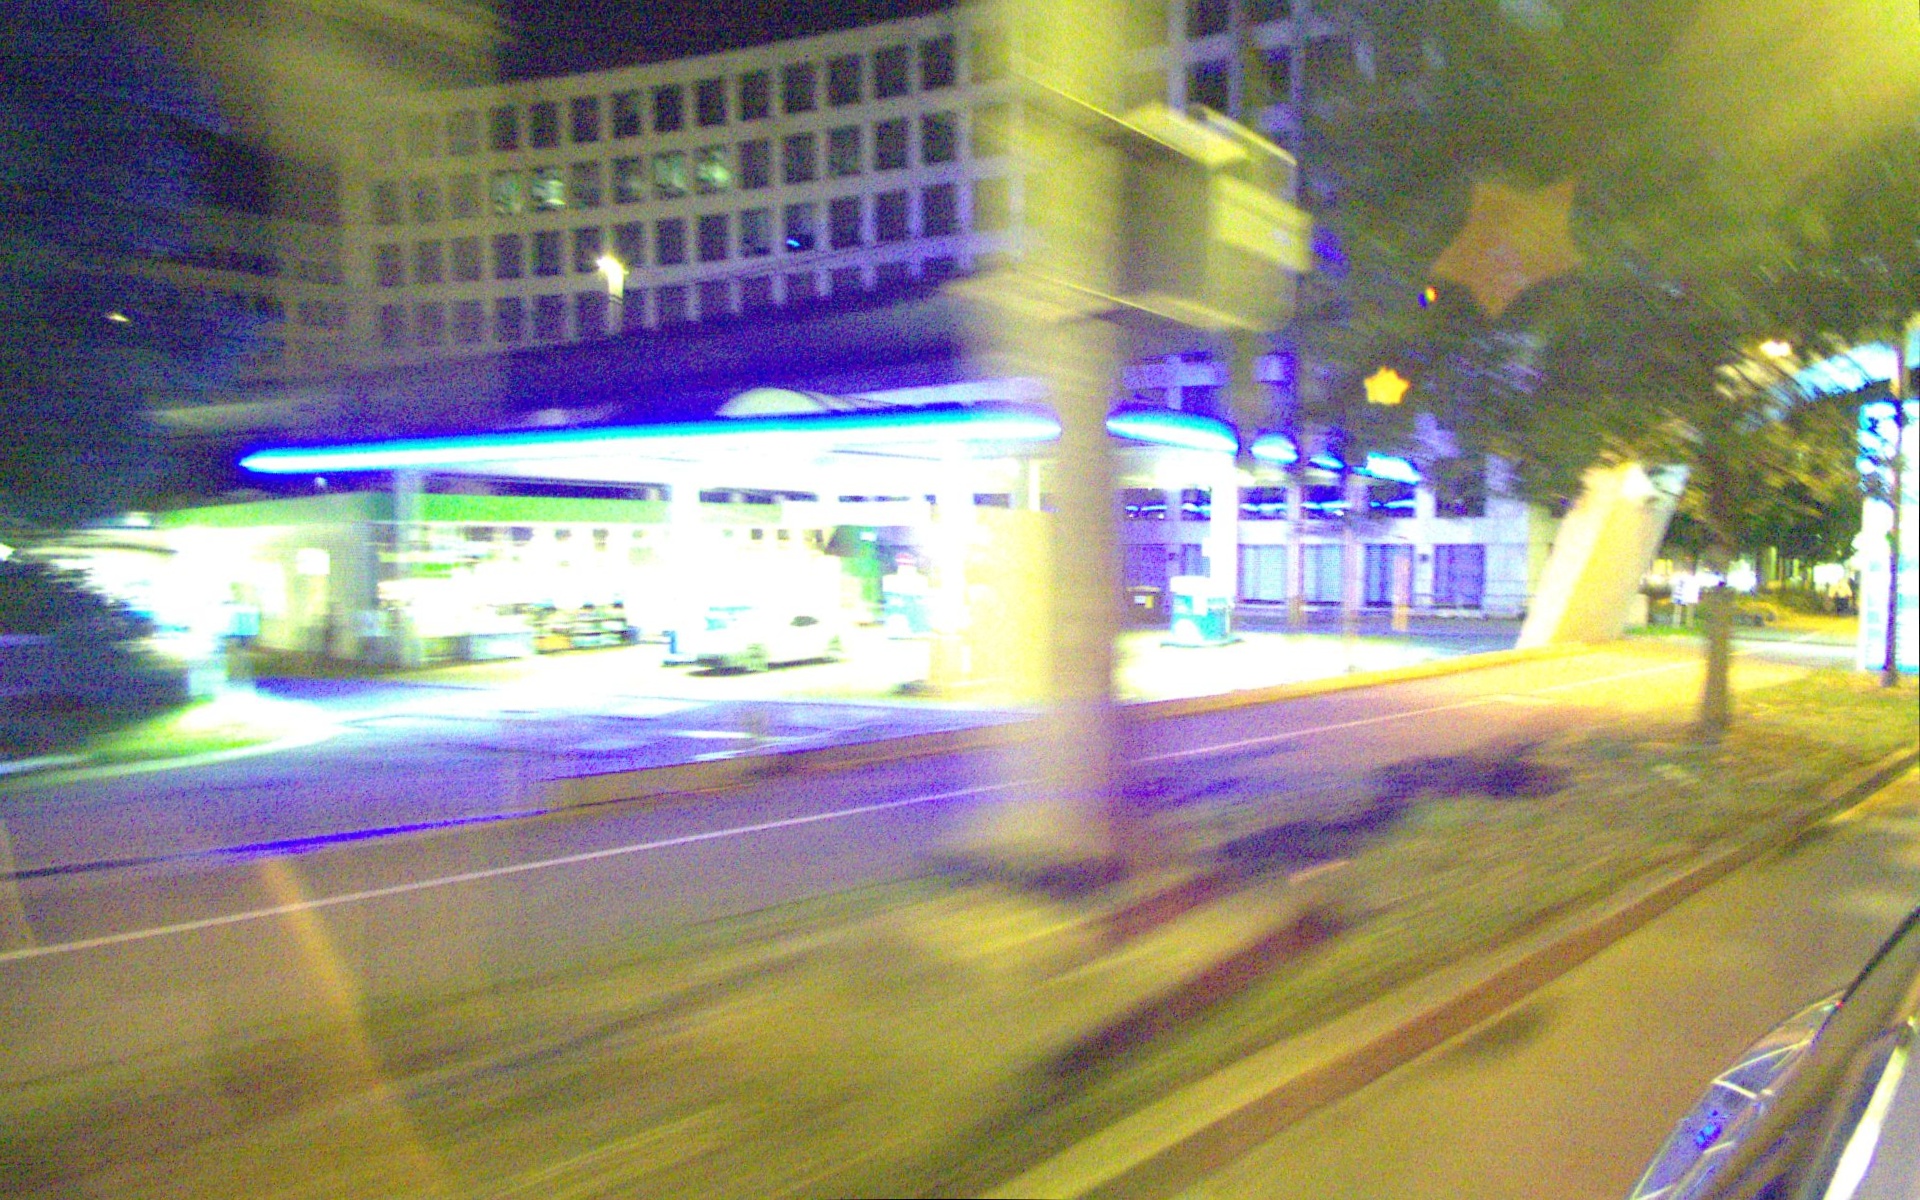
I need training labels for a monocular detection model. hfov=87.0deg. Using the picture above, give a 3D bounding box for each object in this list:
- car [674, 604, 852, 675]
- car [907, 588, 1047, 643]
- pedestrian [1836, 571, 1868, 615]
[{"bbox_3d":[-4.586,0.853,24.017,1.650,1.375,4.012,0,2,40],"label":"car"},{"bbox_3d":[0.574,0.401,30.352,1.925,1.380,4.271,2,3,41],"label":"car"},{"bbox_3d":[40.328,-0.325,45.769,0.778,1.936,0.808,-1,4,-35],"label":"pedestrian"}]
